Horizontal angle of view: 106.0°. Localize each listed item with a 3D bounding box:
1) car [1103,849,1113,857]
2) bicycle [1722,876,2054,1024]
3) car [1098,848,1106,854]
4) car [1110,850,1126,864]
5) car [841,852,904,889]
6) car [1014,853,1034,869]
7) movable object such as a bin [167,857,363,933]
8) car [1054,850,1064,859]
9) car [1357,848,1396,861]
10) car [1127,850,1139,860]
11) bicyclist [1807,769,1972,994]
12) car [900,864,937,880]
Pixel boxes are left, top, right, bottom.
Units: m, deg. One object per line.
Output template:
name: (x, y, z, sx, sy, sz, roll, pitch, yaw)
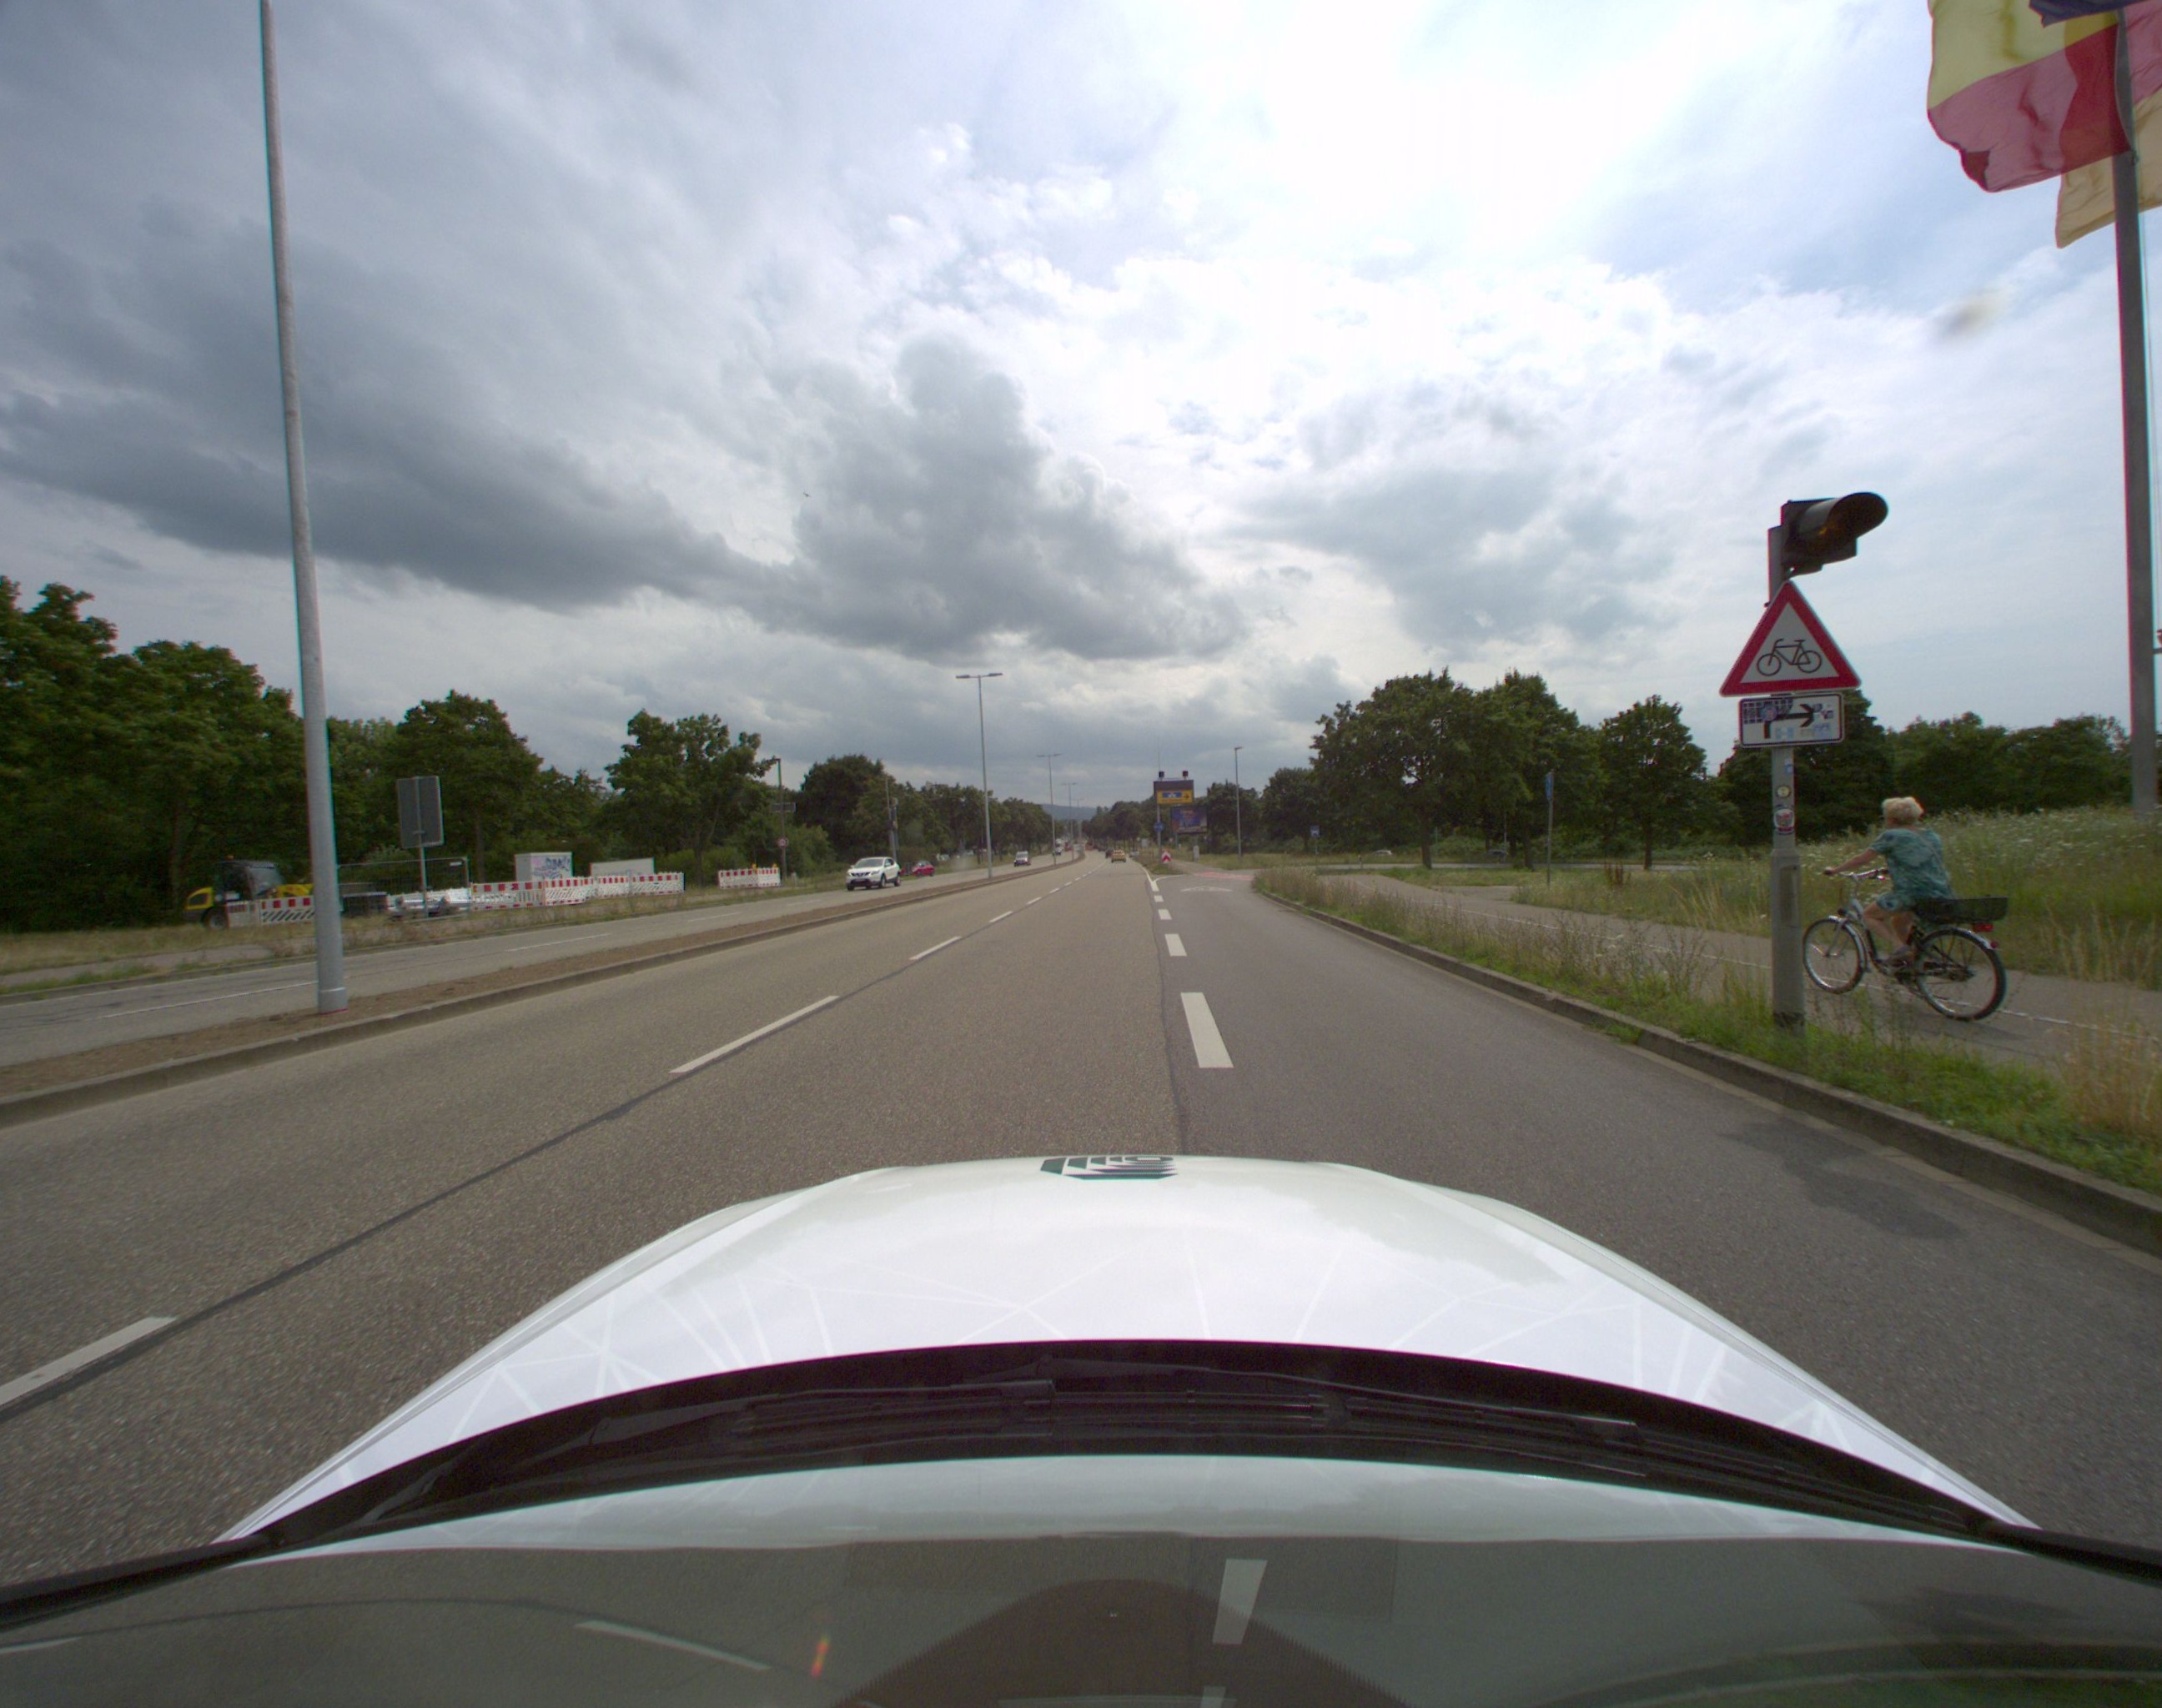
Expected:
car: (4.802, -0.153, 144.840, 1.661, 1.269, 4.001, -2, 1, 1)
bicycle: (6.364, 0.690, 6.645, 0.621, 0.888, 2.156, -2, 1, 2)
car: (5.766, -0.816, 222.631, 2.198, 1.683, 4.003, -2, 1, 2)
car: (4.527, 0.311, 100.712, 1.787, 1.561, 4.001, -2, 1, 1)
car: (-10.407, 0.799, 40.960, 1.687, 1.629, 4.389, -2, 1, 4)
car: (-7.062, 0.870, 101.334, 1.895, 1.809, 4.543, -2, 1, 3)
movable object such as a bin: (-29.008, 1.395, 29.107, 4.574, 2.396, 1.995, -2, 1, -8)
car: (-5.265, 0.072, 195.949, 1.986, 1.811, 4.799, -3, 1, 1)
car: (34.873, 0.100, 96.261, 3.950, 1.464, 1.783, -1, 2, 44)
car: (9.514, 0.166, 148.967, 2.006, 1.670, 4.001, -2, 1, 1)
bicyclist: (6.349, 0.200, 6.427, 0.619, 1.666, 0.669, -2, 1, 2)
car: (-13.767, 1.480, 69.155, 1.393, 1.244, 3.908, -1, 0, 16)
